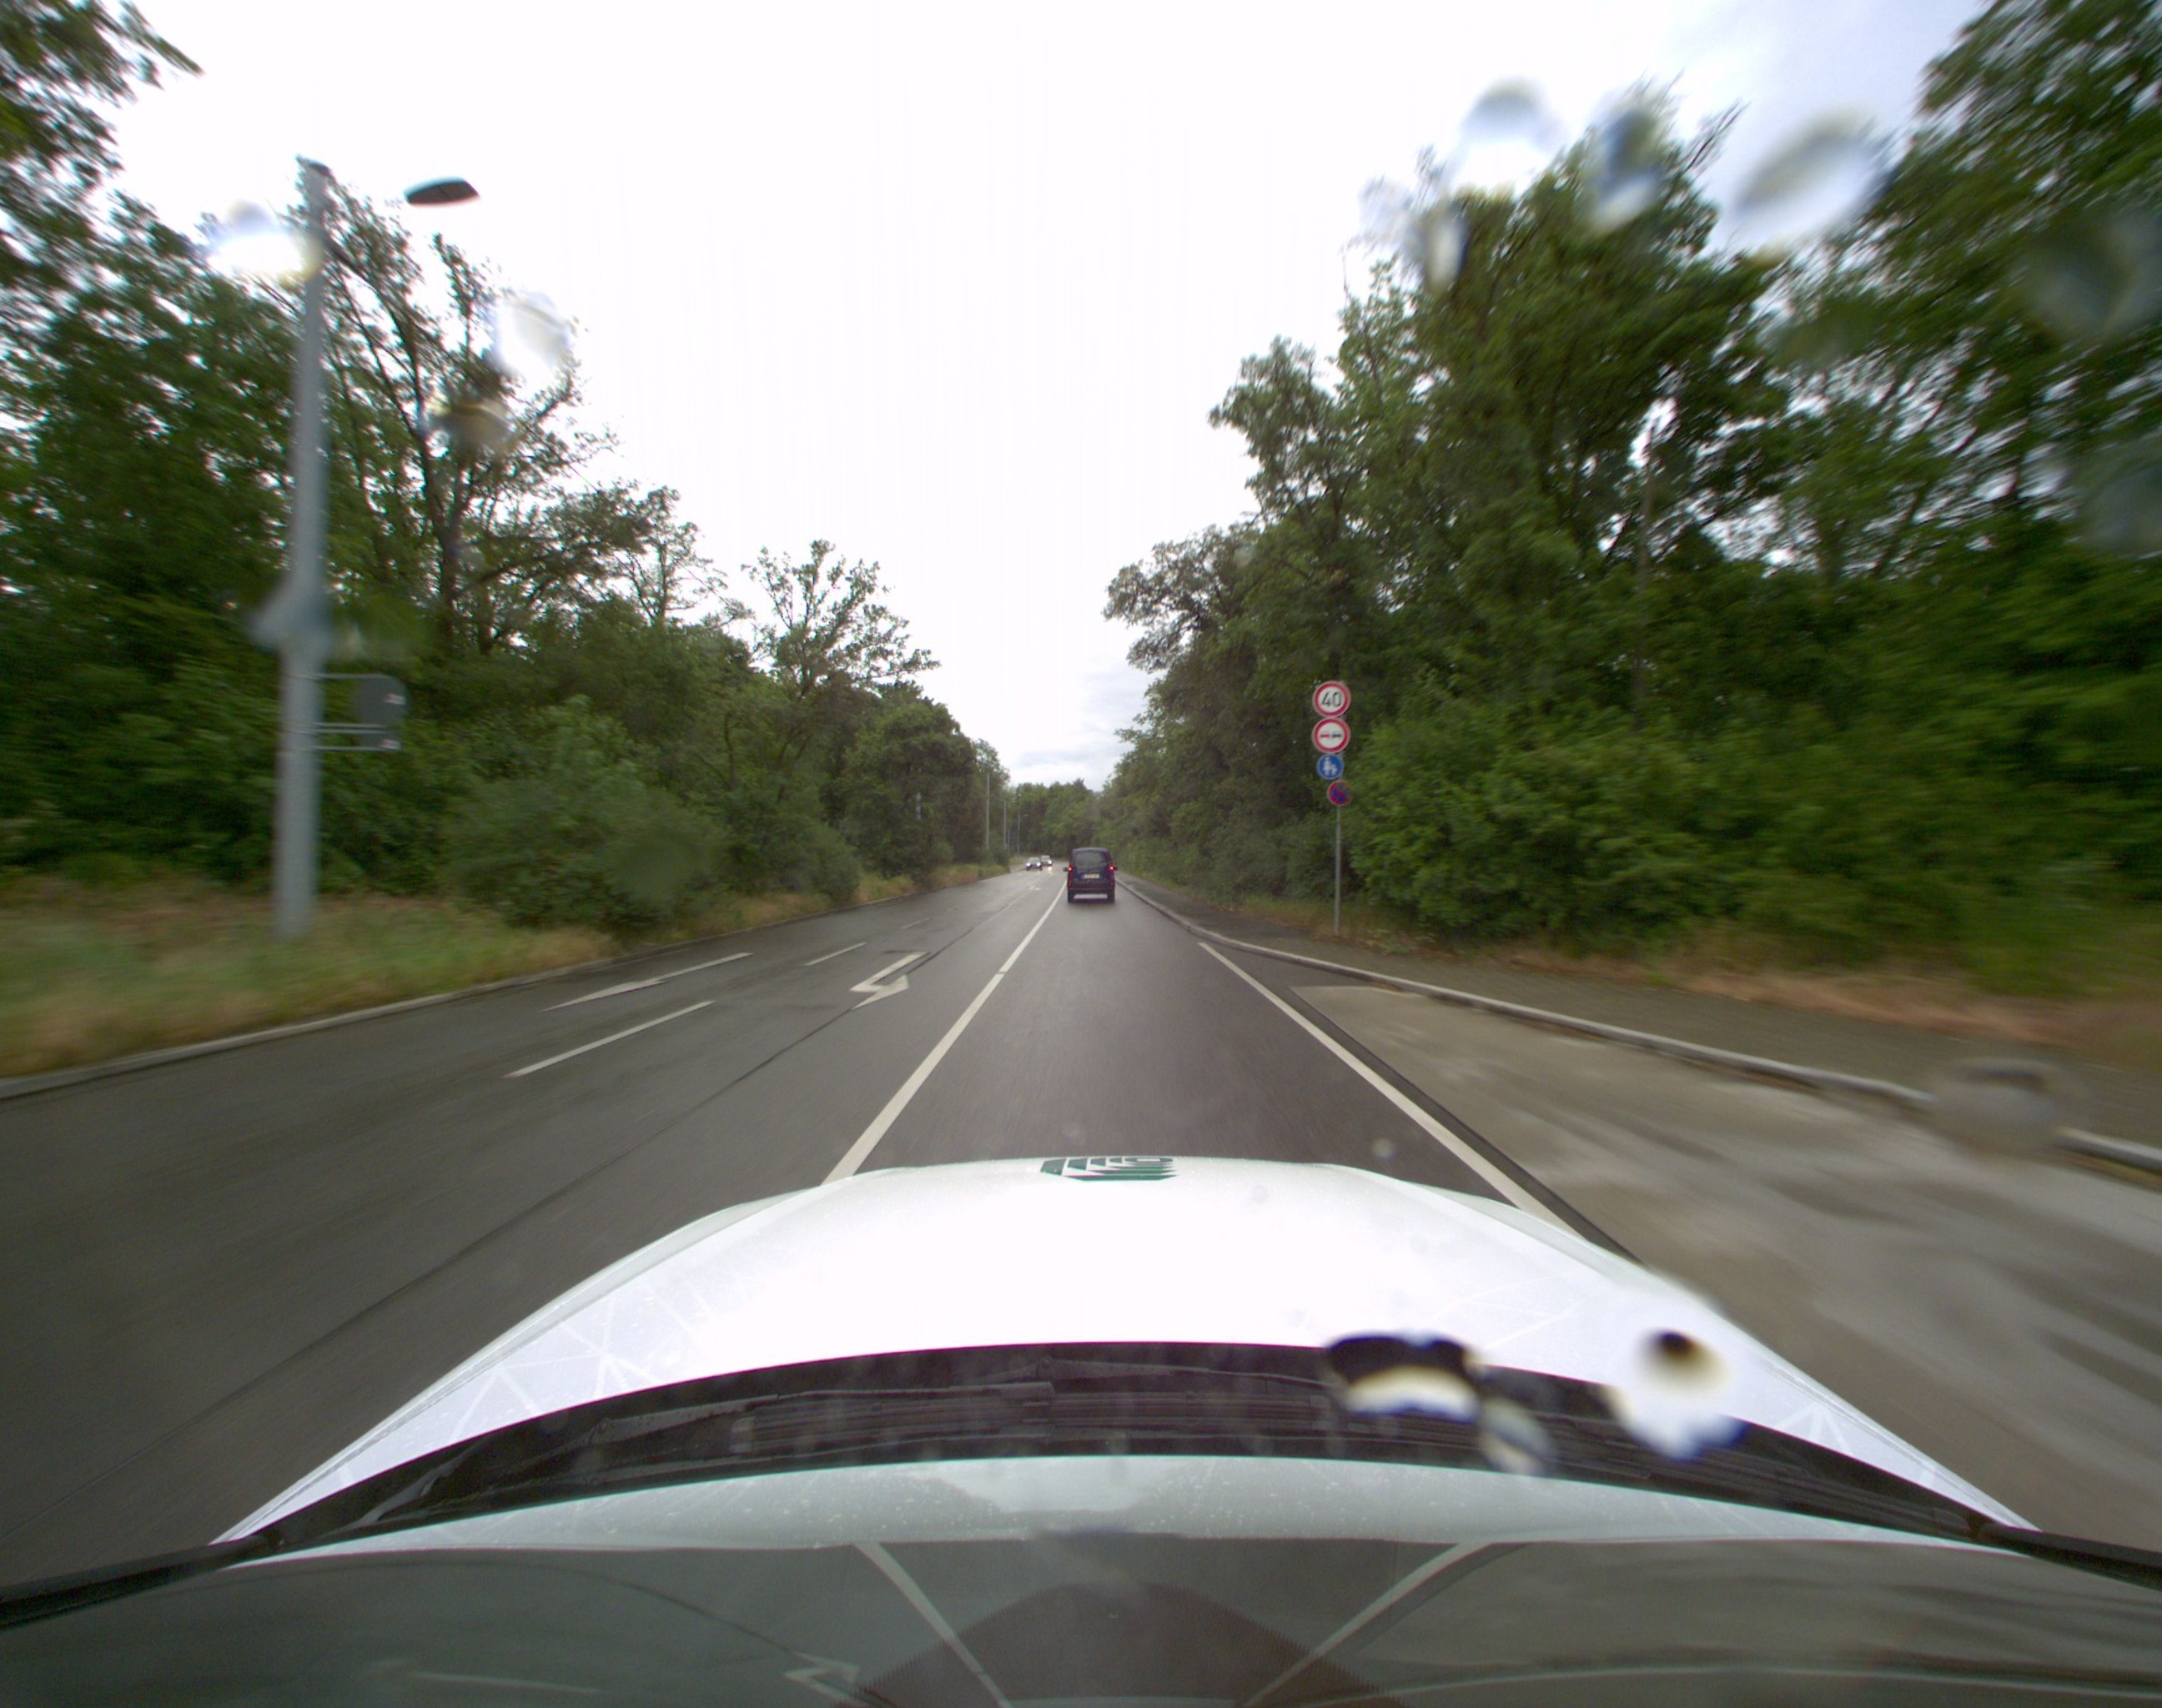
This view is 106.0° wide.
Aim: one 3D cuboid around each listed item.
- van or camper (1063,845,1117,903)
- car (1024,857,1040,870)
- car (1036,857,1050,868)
[{"bbox_3d":[0.278,0.683,28.903,1.708,1.826,3.998,-3,-1,-1],"label":"van or camper"},{"bbox_3d":[-5.554,1.037,91.887,1.594,1.441,3.989,-1,0,-1],"label":"car"},{"bbox_3d":[-5.407,1.201,115.250,1.766,1.610,4.083,0,0,0],"label":"car"}]
